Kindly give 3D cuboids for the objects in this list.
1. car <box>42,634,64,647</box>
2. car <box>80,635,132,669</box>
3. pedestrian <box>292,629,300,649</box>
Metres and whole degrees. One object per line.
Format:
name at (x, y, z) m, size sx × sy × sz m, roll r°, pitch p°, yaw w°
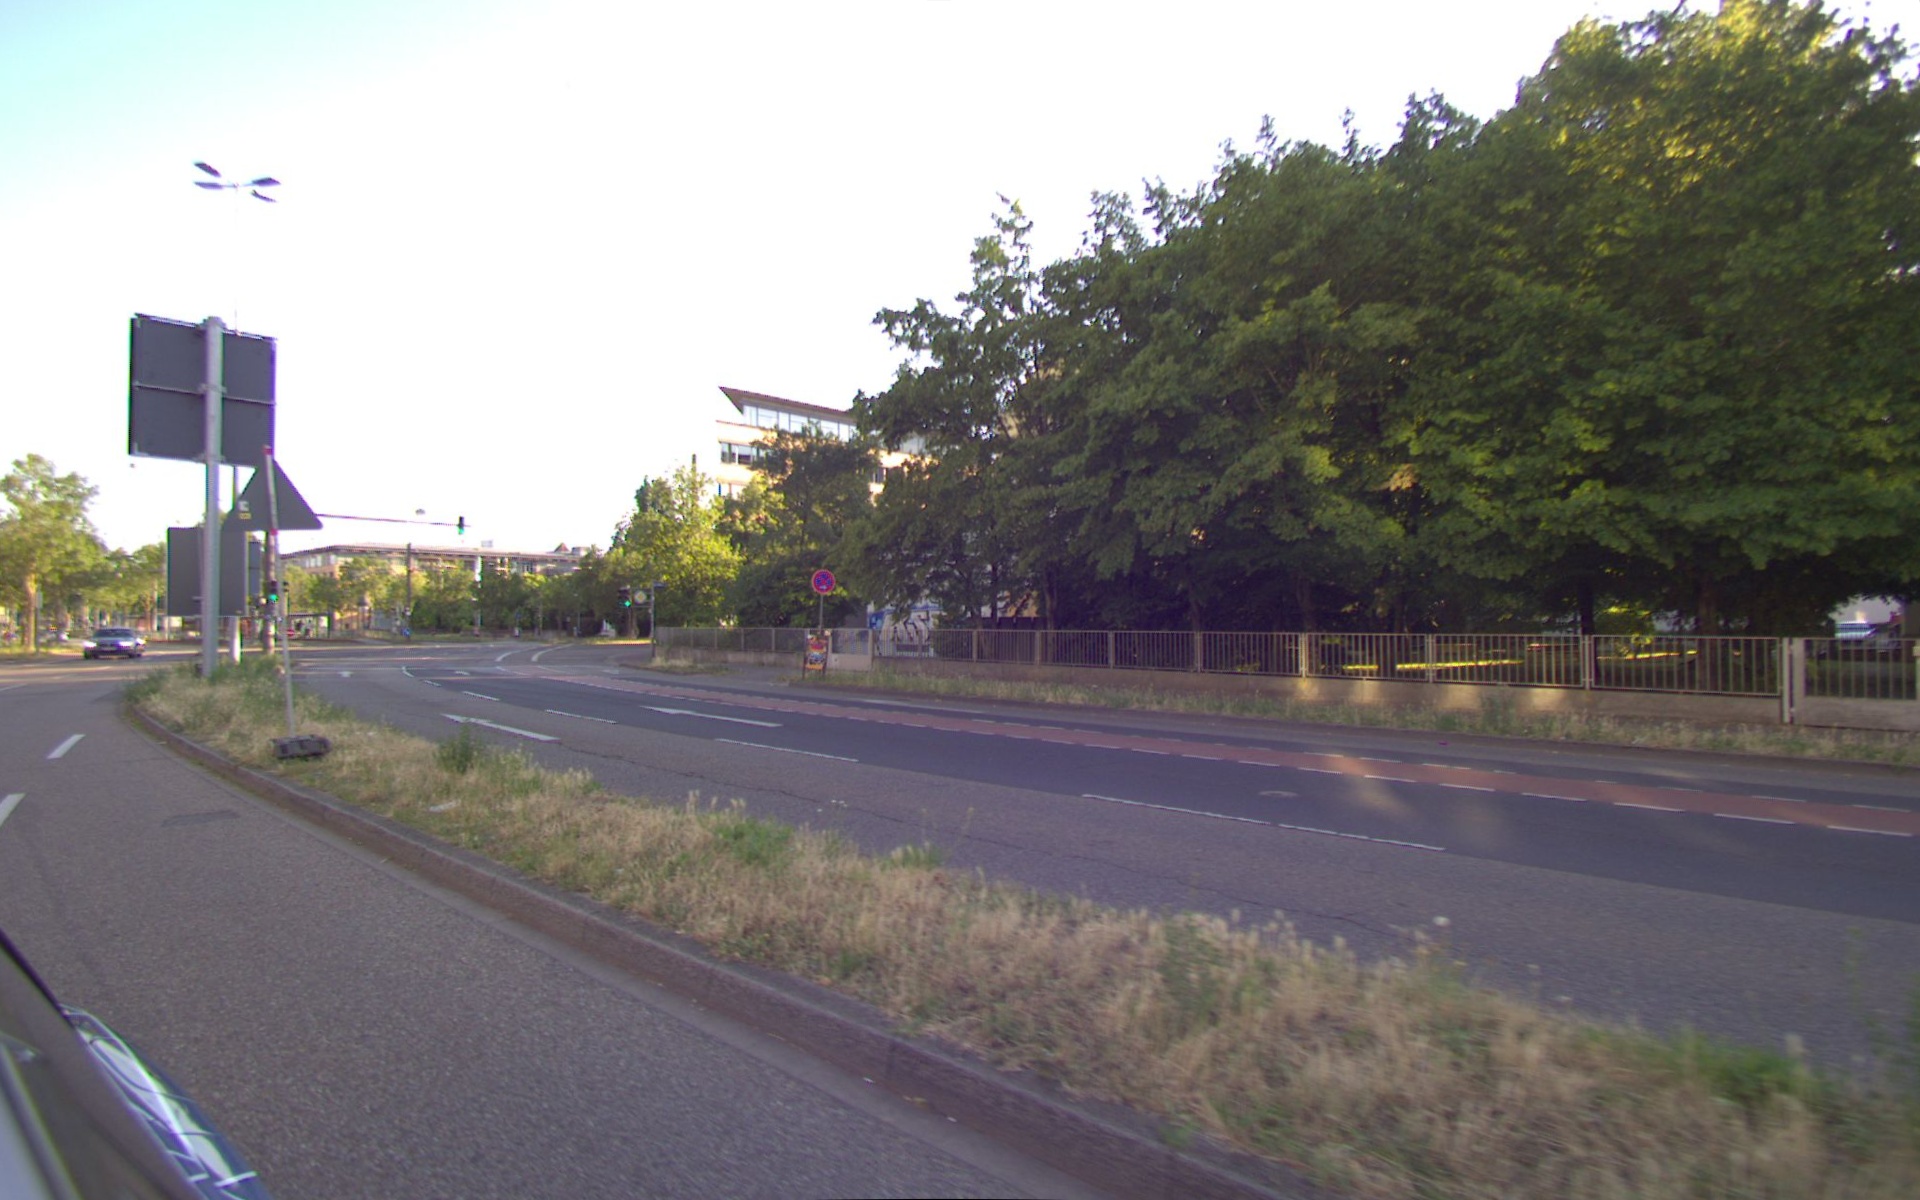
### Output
car at (-104.312, 4.621, 116.391) m, size 1.649 × 1.429 × 4.448 m, roll 1°, pitch -2°, yaw -40°
car at (-39.767, 2.386, 47.136) m, size 1.792 × 1.460 × 4.674 m, roll 0°, pitch -1°, yaw -40°
pedestrian at (-67.433, 3.970, 102.740) m, size 0.664 × 2.029 × 0.549 m, roll -2°, pitch -2°, yaw 42°
